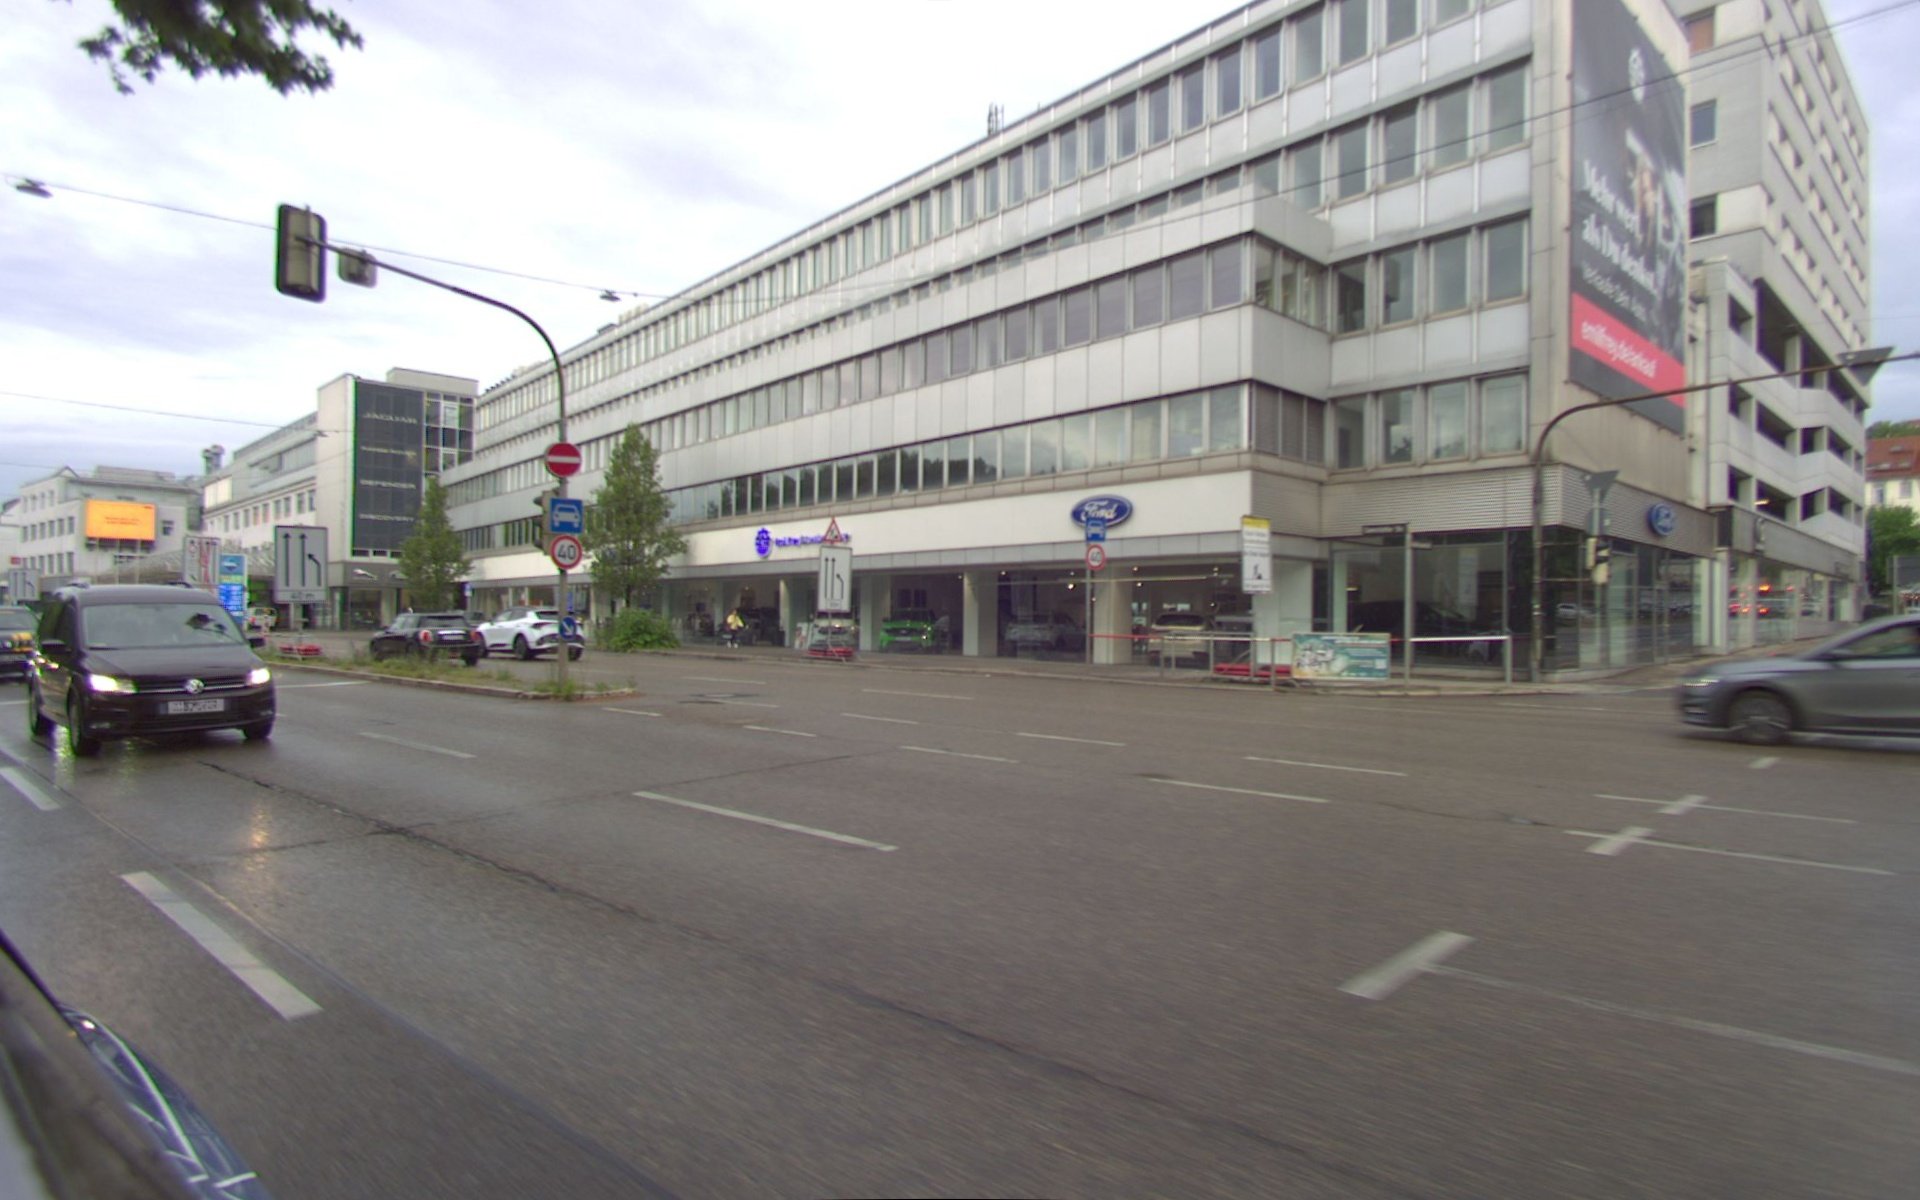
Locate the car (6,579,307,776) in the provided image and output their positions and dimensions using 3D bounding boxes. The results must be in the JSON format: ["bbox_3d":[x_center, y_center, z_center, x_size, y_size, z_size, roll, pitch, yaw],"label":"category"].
[{"bbox_3d":[-9.401,0.743,11.710,4.428,1.828,1.881,-1,1,41],"label":"car"}]

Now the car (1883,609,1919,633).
[{"bbox_3d":[76.015,1.697,80.533,3.725,1.874,1.818,-2,-2,41],"label":"car"}]

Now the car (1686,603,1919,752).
[{"bbox_3d":[10.139,0.772,10.543,4.039,1.476,1.691,-1,-2,41],"label":"car"}]

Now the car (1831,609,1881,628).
[{"bbox_3d":[97.164,2.042,109.794,1.922,1.948,3.947,-3,1,-44],"label":"car"}]

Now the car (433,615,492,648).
[{"bbox_3d":[-30.040,1.843,61.057,4.167,1.829,1.896,-1,1,45],"label":"car"}]

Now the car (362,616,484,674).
[{"bbox_3d":[-14.598,1.170,27.457,3.861,1.447,1.665,-1,-1,41],"label":"car"}]

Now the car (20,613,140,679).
[{"bbox_3d":[-24.565,1.227,28.203,4.329,1.611,1.792,-1,1,39],"label":"car"}]

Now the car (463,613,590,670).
[{"bbox_3d":[-13.418,1.223,31.200,4.454,1.622,1.870,-1,-1,41],"label":"car"}]

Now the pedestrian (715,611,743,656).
[{"bbox_3d":[-9.587,1.376,42.017,0.751,1.788,0.864,-2,1,-44],"label":"pedestrian"}]

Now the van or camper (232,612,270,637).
[{"bbox_3d":[-58.957,2.034,84.120,1.902,1.944,4.258,-3,1,-44],"label":"van or camper"}]

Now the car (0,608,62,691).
[{"bbox_3d":[-20.699,1.032,21.527,4.330,1.611,1.791,-1,1,41],"label":"car"}]
